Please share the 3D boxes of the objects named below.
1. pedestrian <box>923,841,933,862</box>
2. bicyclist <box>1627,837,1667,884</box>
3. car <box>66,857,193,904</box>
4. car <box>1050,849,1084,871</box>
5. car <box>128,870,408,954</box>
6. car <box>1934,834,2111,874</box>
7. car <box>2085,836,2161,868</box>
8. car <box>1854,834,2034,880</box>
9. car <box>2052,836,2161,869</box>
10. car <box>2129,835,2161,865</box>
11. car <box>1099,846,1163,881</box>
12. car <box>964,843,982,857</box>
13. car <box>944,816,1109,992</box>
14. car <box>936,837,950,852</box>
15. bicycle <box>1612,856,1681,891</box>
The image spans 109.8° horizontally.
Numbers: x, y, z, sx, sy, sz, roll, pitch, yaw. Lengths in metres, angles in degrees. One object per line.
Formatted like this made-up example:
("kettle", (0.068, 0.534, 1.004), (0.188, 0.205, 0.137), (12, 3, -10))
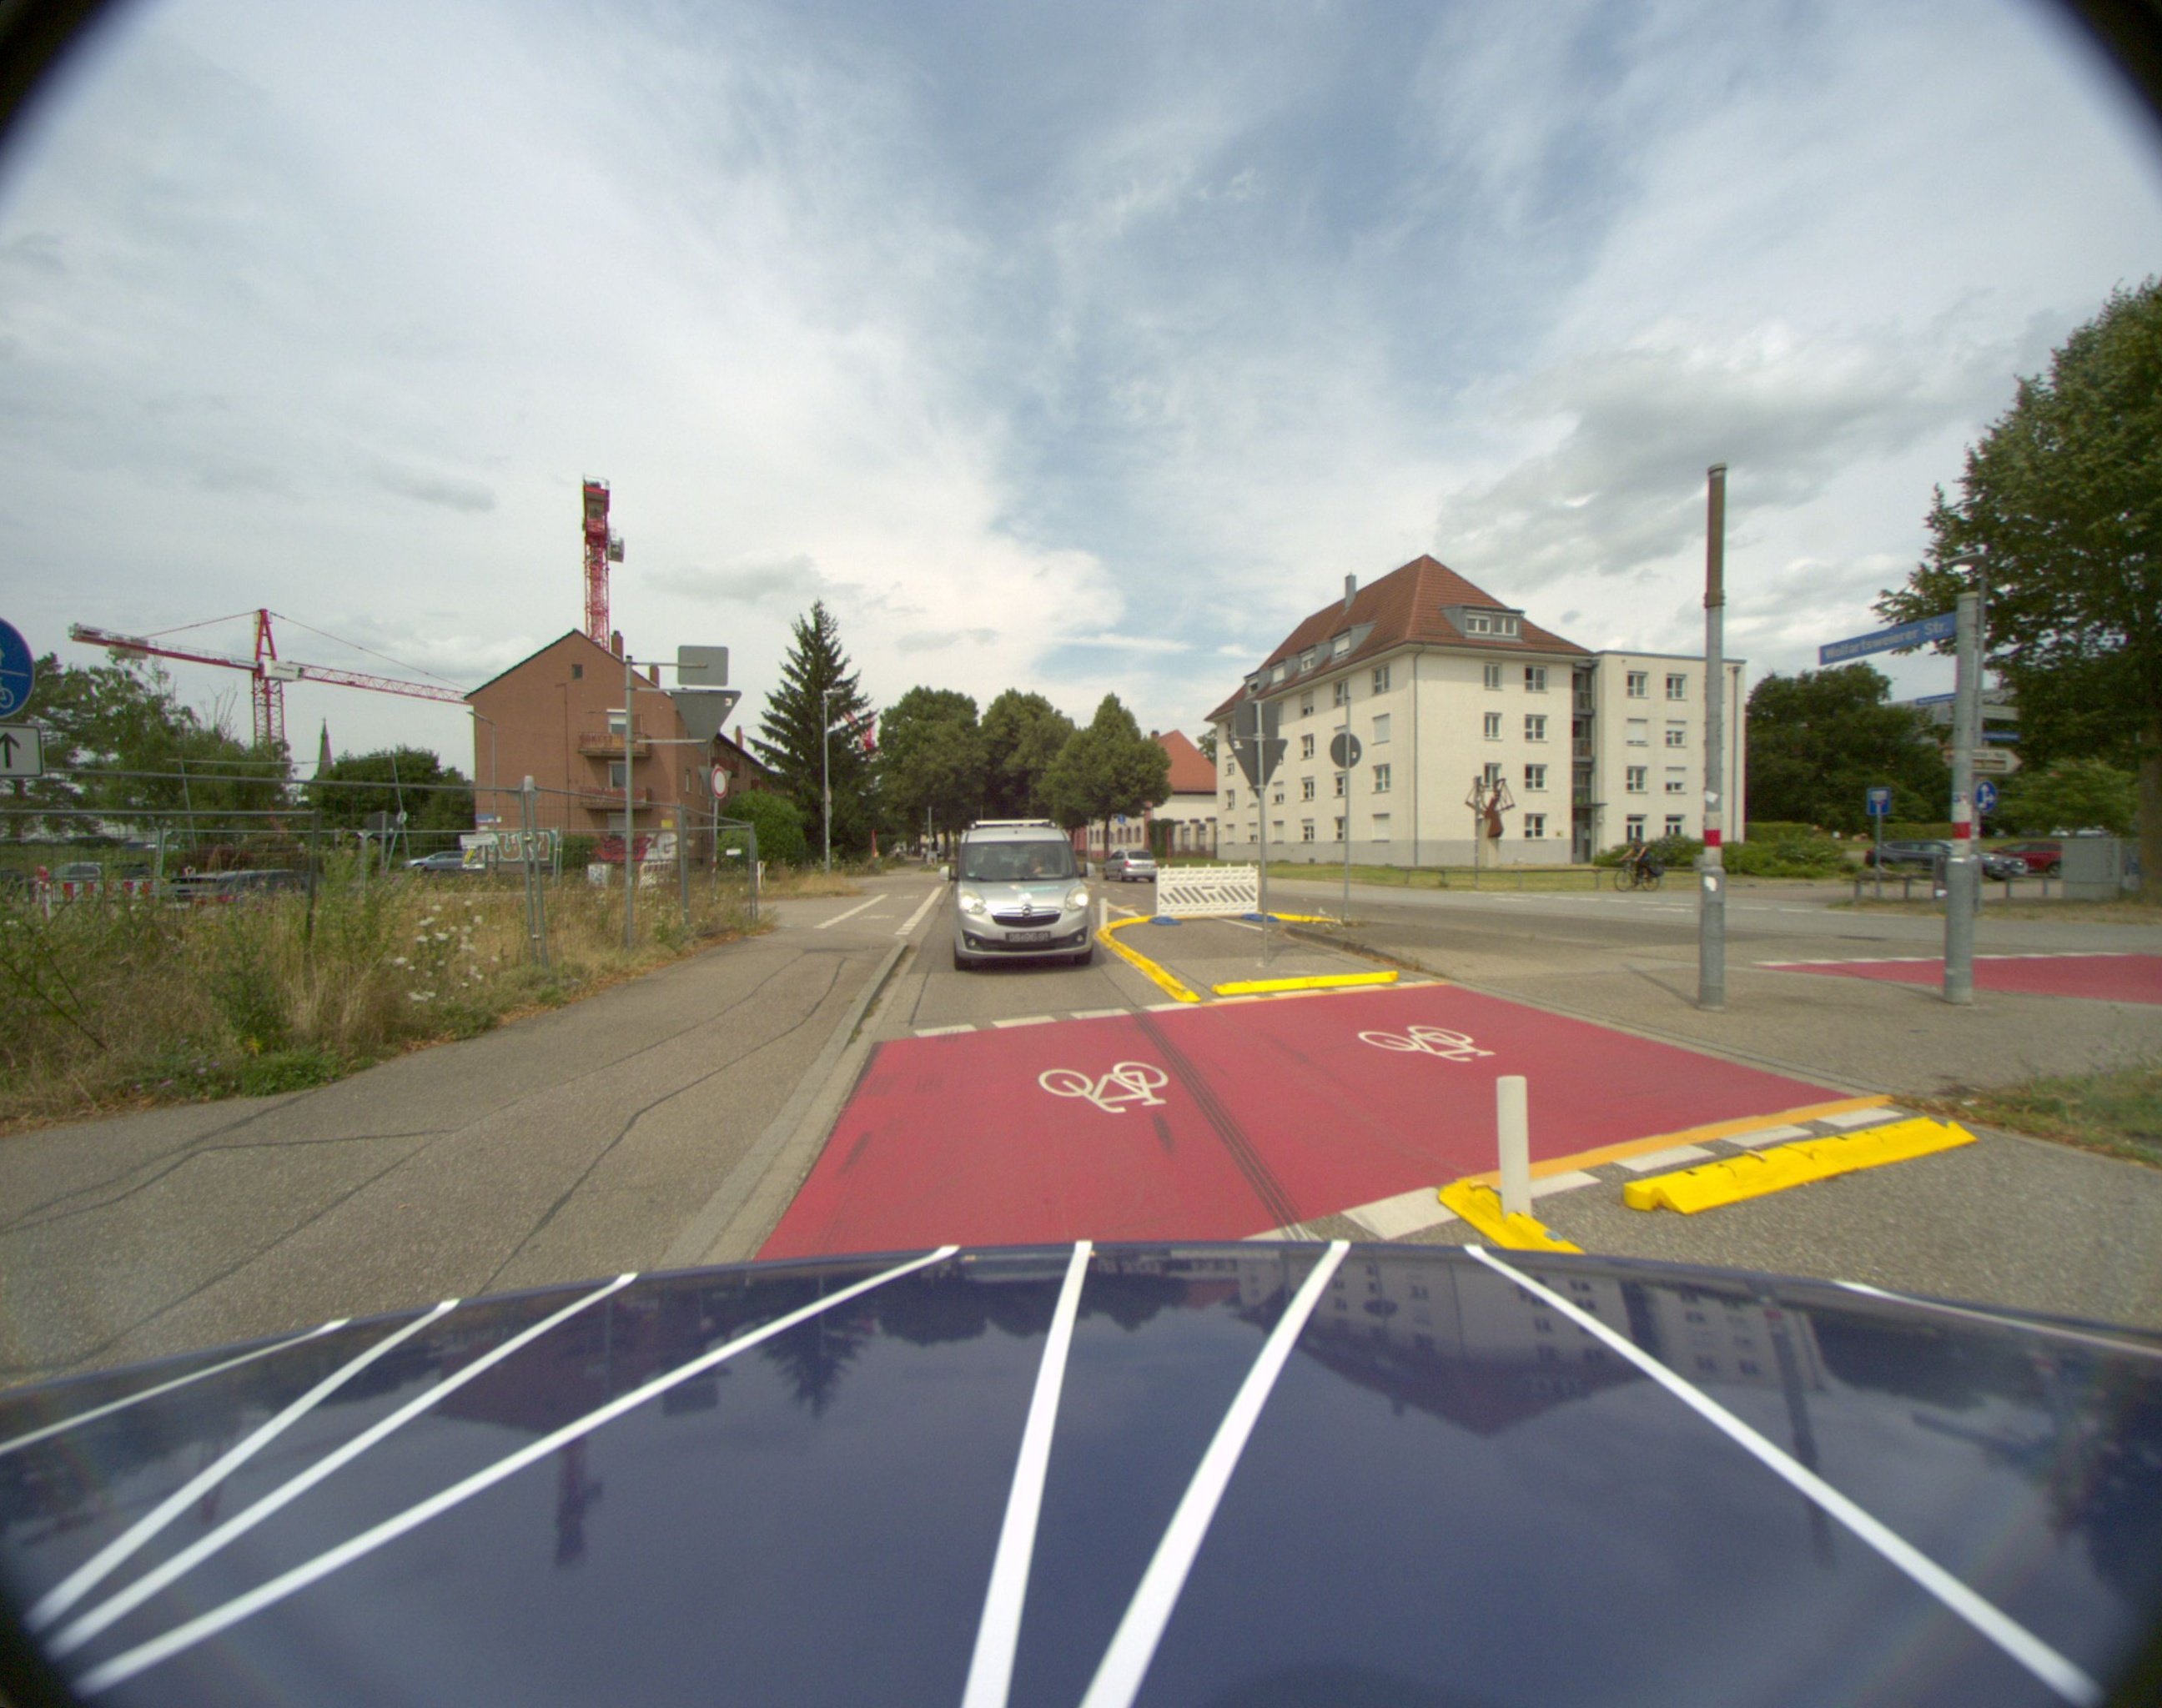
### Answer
("pedestrian", (-14.913, -0.219, 74.024), (0.856, 2.002, 0.731), (-1, 1, -7))
("bicyclist", (17.476, 0.184, 23.466), (0.803, 1.415, 0.601), (-1, 1, -8))
("car", (-39.568, 1.072, 31.621), (3.992, 1.838, 1.804), (-1, 1, 16))
("car", (-0.973, 0.366, 49.666), (1.632, 1.406, 3.718), (0, 0, -11))
("car", (-18.029, 1.194, 17.221), (1.766, 1.465, 4.257), (-1, 1, -1))
("car", (40.769, -0.033, 33.075), (2.001, 1.588, 4.401), (-1, 1, -14))
("car", (50.540, -0.117, 35.493), (1.819, 1.459, 4.001), (-1, 1, -16))
("car", (35.509, 0.079, 31.452), (2.001, 1.754, 4.493), (-1, 1, -16))
("car", (48.422, -0.079, 35.151), (1.616, 1.460, 4.001), (-1, 1, -16))
("car", (54.255, -0.208, 36.628), (1.819, 1.460, 4.001), (-1, 1, -16))
("car", (2.248, 0.400, 35.240), (1.630, 1.510, 4.212), (-1, 1, -16))
("car", (-13.348, -0.501, 94.134), (1.802, 1.613, 4.742), (-1, 1, -13))
("car", (-0.926, 0.518, 10.797), (1.811, 1.936, 4.580), (-1, 1, -8))
("car", (-25.627, -1.732, 141.121), (2.072, 2.670, 5.962), (-1, 1, -13))
("bicycle", (17.454, 0.599, 23.465), (1.829, 1.040, 0.601), (-1, 1, -8))
